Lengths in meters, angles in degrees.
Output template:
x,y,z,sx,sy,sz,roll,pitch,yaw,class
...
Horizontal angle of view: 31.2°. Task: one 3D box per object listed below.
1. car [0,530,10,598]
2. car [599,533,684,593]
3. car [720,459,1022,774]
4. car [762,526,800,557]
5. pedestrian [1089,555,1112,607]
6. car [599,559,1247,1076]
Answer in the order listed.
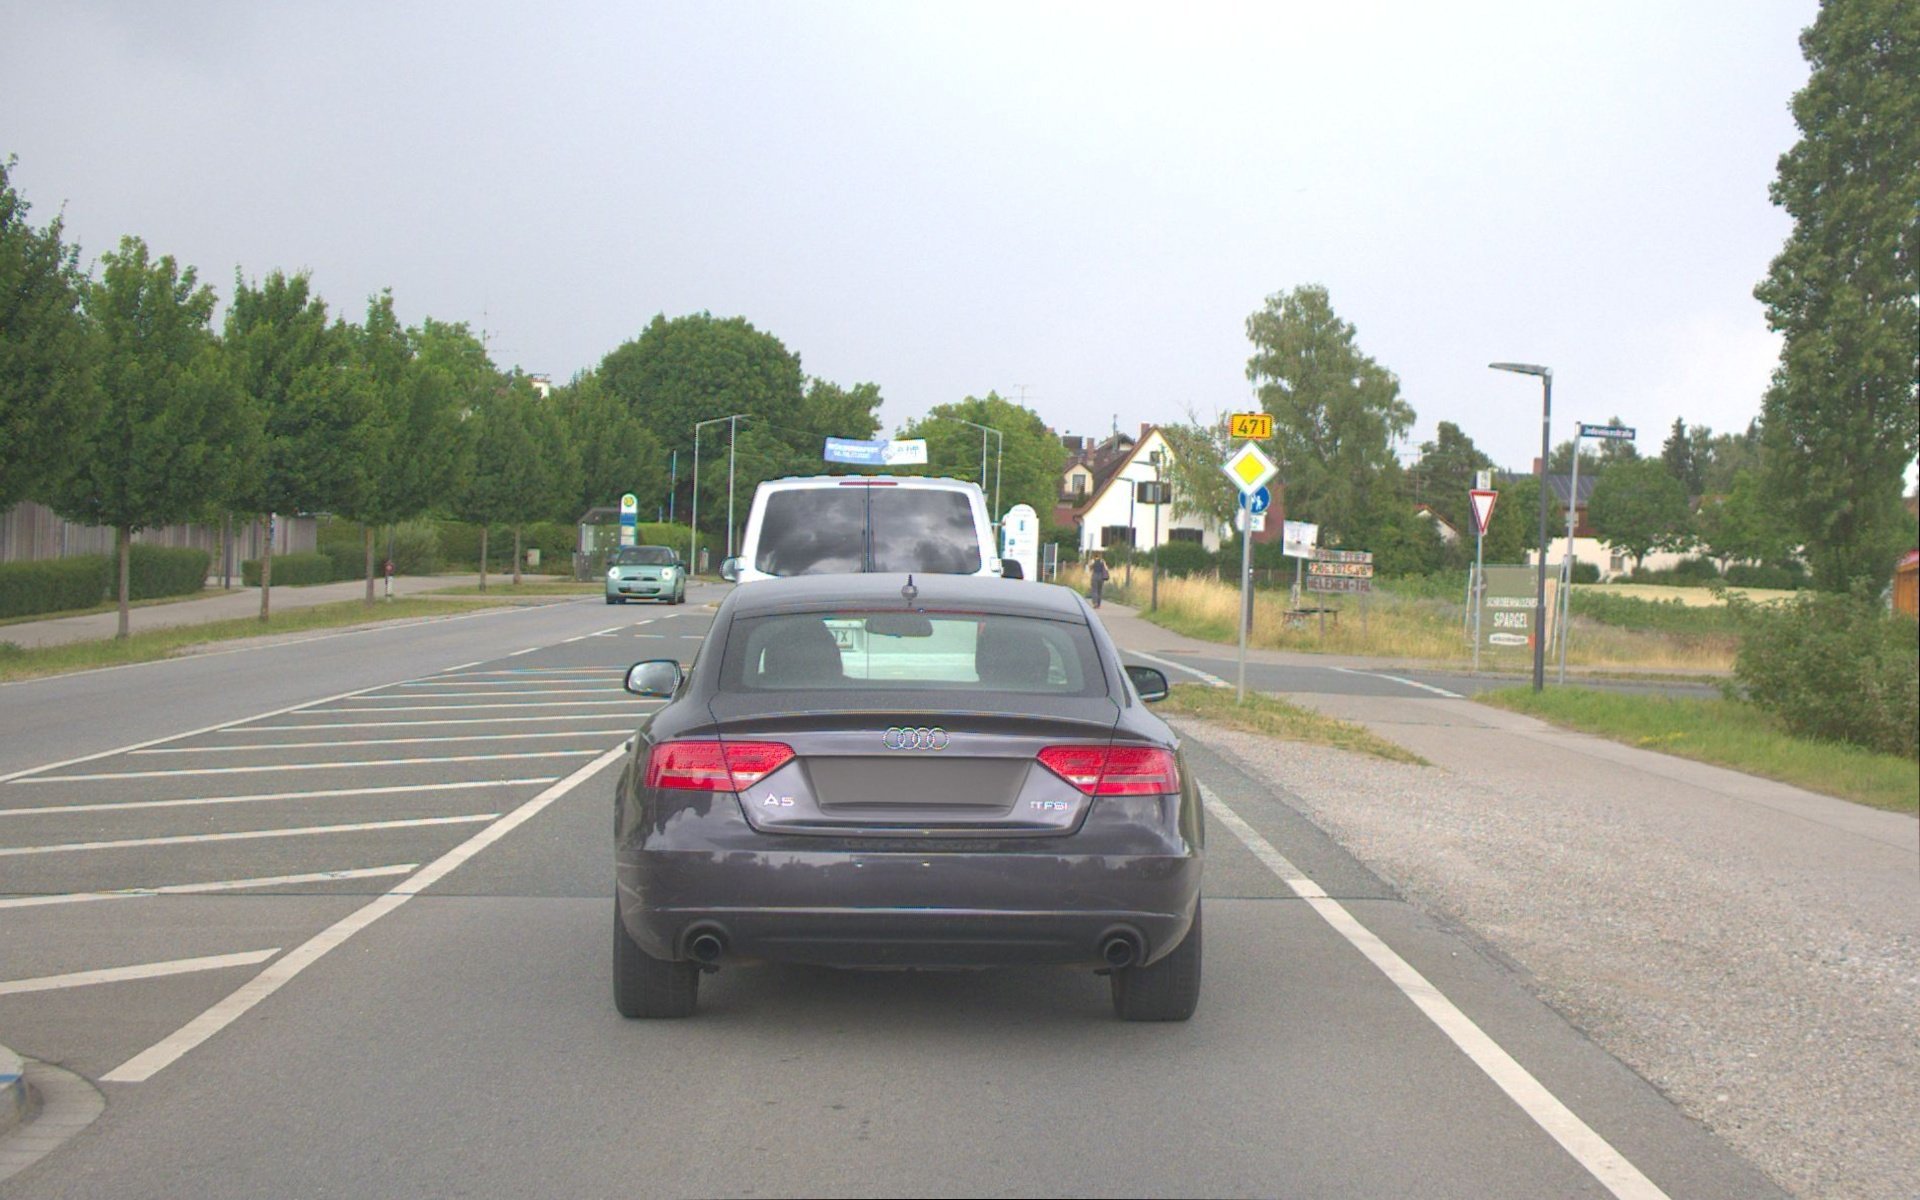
x,y,z,sx,sy,sz,roll,pitch,yaw,class
-24.078,-0.920,78.758,3.987,1.551,2.000,3,1,1,car
-7.855,-0.932,85.075,1.770,1.438,4.000,0,1,0,car
-0.635,0.061,23.837,1.825,1.907,4.001,3,1,-2,car
-8.456,-2.770,162.907,1.653,1.424,3.602,0,1,-1,car
4.113,-0.565,100.895,0.623,1.519,0.680,0,1,-1,pedestrian
-0.284,0.582,11.855,1.825,1.384,4.388,0,1,-5,car
